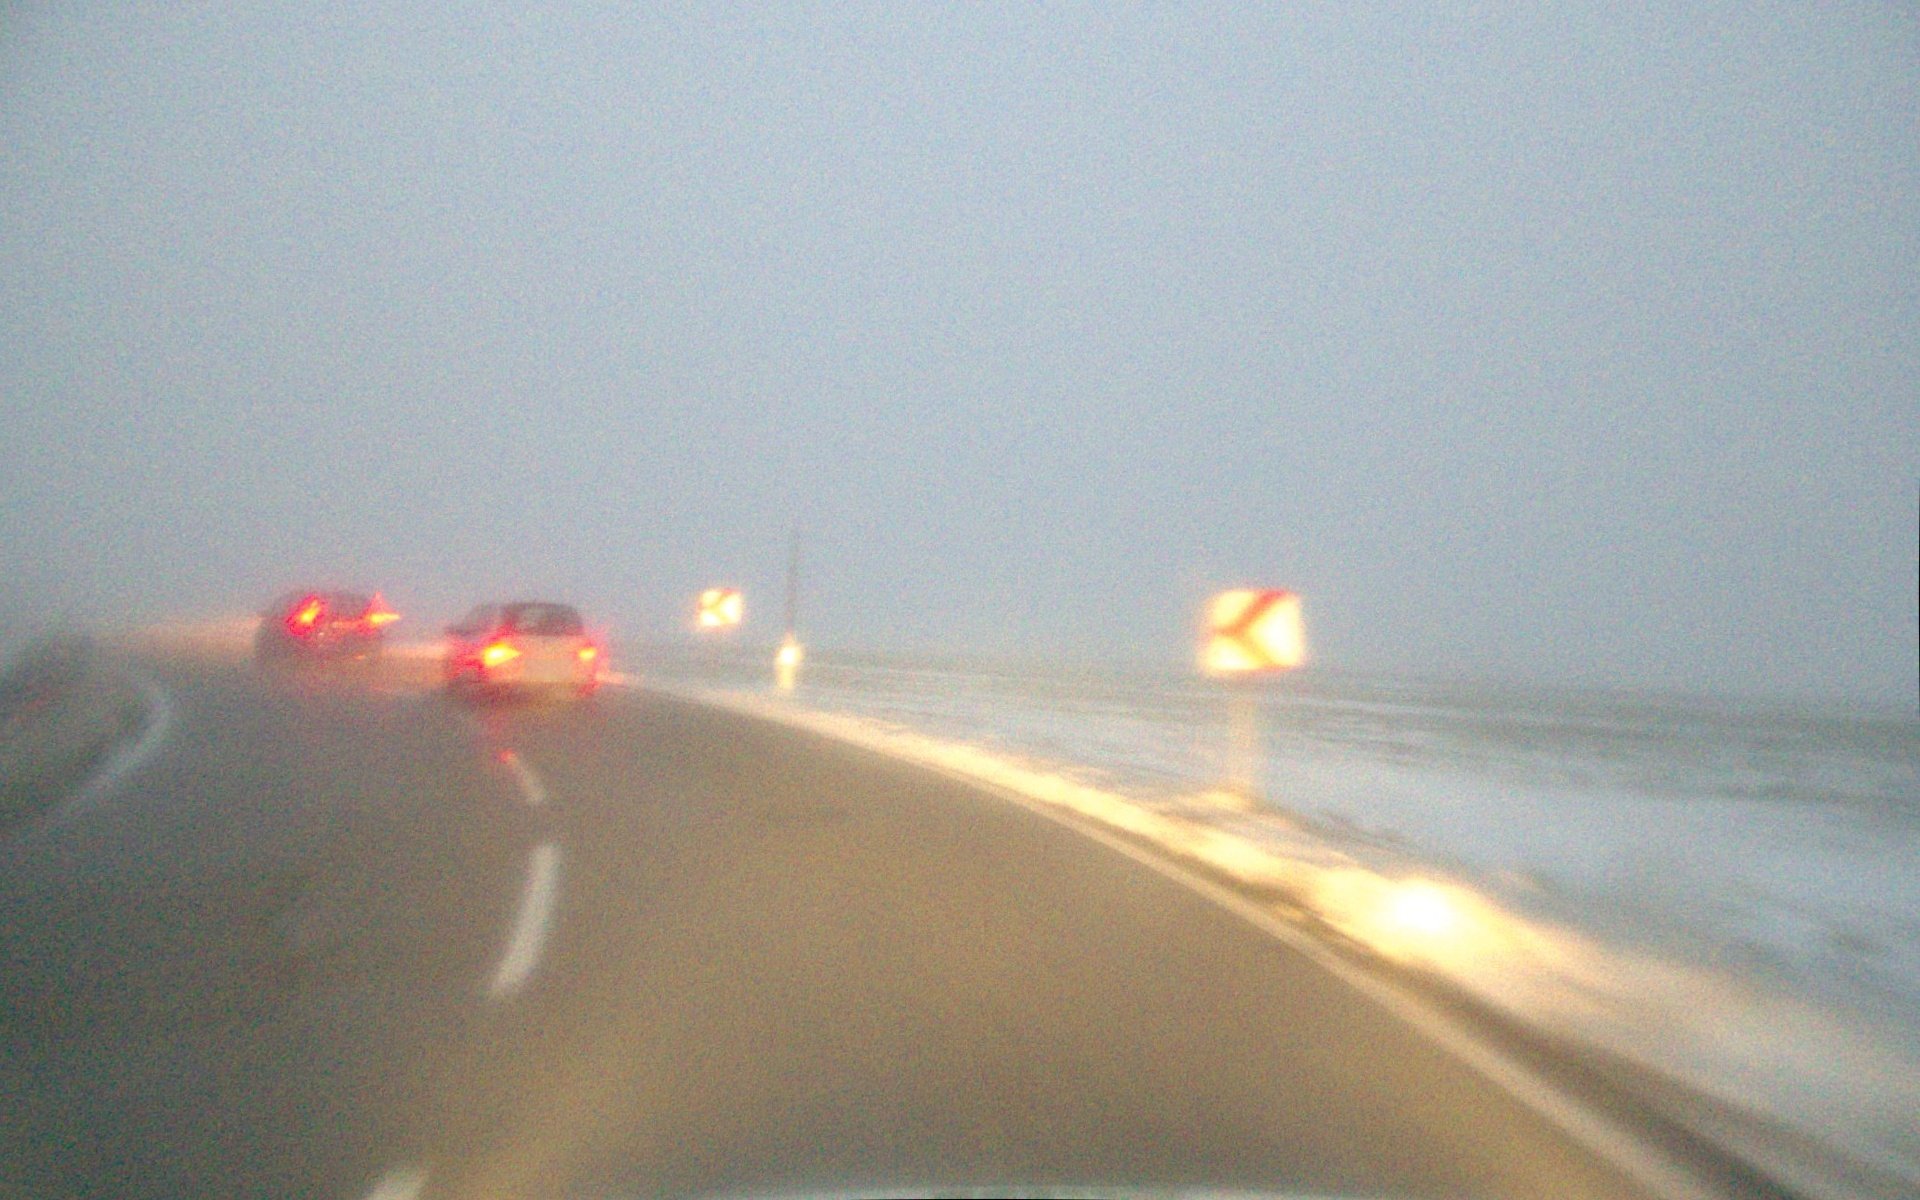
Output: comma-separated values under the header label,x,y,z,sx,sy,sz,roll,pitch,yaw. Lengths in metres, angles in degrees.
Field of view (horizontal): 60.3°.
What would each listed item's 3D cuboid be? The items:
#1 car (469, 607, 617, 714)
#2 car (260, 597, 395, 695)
label,x,y,z,sx,sy,sz,roll,pitch,yaw
car,-6.082,0.813,23.855,1.915,1.405,3.981,0,-1,-17
car,-12.697,0.885,33.060,1.972,1.814,3.960,-1,-1,-29
